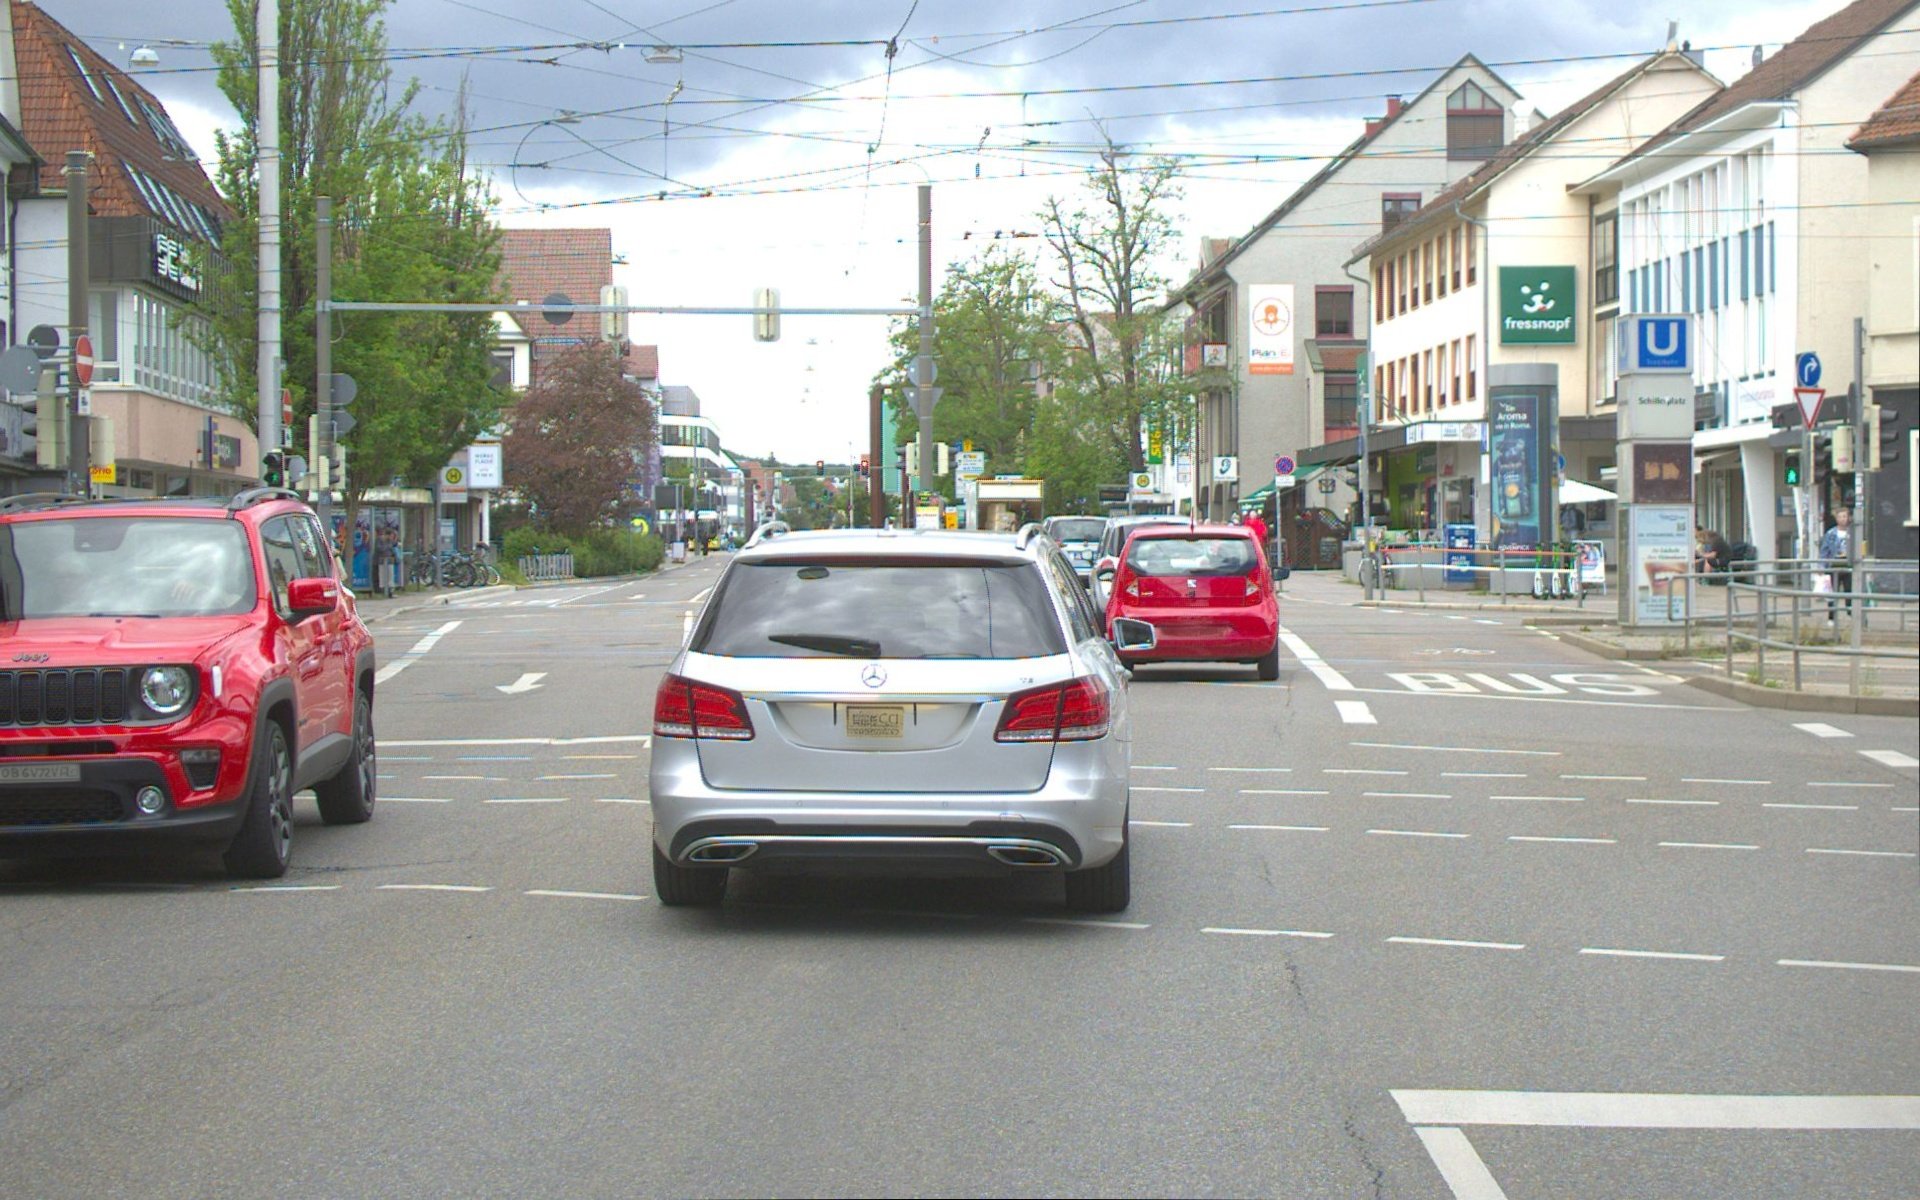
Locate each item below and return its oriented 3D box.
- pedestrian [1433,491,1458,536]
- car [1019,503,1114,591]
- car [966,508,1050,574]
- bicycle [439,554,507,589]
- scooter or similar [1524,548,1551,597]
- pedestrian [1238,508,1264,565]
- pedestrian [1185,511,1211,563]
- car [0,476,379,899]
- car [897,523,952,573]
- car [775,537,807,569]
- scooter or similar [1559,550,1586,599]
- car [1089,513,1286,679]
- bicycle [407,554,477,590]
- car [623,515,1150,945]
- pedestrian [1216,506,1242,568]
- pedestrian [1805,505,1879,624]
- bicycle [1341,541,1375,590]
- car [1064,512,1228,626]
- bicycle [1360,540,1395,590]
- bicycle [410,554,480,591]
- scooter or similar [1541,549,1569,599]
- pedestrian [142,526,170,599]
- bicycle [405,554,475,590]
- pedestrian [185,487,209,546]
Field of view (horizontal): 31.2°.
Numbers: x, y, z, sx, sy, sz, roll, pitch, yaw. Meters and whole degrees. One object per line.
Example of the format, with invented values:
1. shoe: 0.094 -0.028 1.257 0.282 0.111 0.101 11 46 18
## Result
1. pedestrian: 13.132 -2.329 93.025 0.533 1.214 0.580 1 1 -5
2. car: 2.189 -1.115 71.658 1.734 1.753 4.000 -1 1 -1
3. car: 1.266 -1.598 92.585 1.993 1.744 4.001 0 1 -3
4. bicycle: -14.306 -0.835 100.897 1.937 1.025 0.530 1 1 -12
5. scooter or similar: 11.804 -0.561 70.252 0.271 0.998 1.029 -1 1 -6
6. pedestrian: 7.539 -1.635 88.983 0.578 1.464 0.651 1 1 -2
7. pedestrian: 6.626 -1.761 95.652 0.578 1.430 0.651 1 1 -8
8. car: -3.845 0.319 15.813 1.799 1.689 3.898 -1 1 -2
9. car: -1.473 -2.149 140.856 1.993 2.007 4.001 0 1 -4
10. car: -10.916 -3.043 221.837 1.993 2.007 4.001 0 1 -4
11. scooter or similar: 12.531 -0.530 70.350 0.271 0.998 1.029 -1 1 -6
12. car: 2.274 -0.085 33.574 1.734 1.503 3.999 1 1 6
13. bicycle: -14.837 -0.803 98.523 1.937 1.025 0.530 1 1 -12
14. car: -0.185 0.415 14.213 1.846 1.503 4.171 -1 1 2
15. pedestrian: 7.221 -1.697 92.300 0.578 1.661 0.651 1 1 -4
16. pedestrian: 12.886 -0.527 50.249 0.841 1.712 0.727 -1 1 -6
17. bicycle: 8.948 -0.785 77.405 0.448 1.087 2.149 -1 1 -2
18. car: 2.537 -0.453 47.827 1.734 1.503 4.001 -1 1 -5
19. bicycle: 9.397 -0.797 77.421 0.448 1.103 2.149 -1 1 -2
20. bicycle: -14.668 -0.791 97.869 1.937 1.025 0.530 1 1 -12
21. scooter or similar: 12.168 -0.533 70.305 0.271 0.998 1.029 -1 1 -6
22. pedestrian: -20.149 -0.936 86.167 0.642 1.830 0.580 -1 1 -16
23. bicycle: -14.995 -0.815 99.110 1.937 1.025 0.530 1 1 -12
24. pedestrian: -20.739 -2.272 93.465 0.577 1.600 0.644 -1 1 -15
